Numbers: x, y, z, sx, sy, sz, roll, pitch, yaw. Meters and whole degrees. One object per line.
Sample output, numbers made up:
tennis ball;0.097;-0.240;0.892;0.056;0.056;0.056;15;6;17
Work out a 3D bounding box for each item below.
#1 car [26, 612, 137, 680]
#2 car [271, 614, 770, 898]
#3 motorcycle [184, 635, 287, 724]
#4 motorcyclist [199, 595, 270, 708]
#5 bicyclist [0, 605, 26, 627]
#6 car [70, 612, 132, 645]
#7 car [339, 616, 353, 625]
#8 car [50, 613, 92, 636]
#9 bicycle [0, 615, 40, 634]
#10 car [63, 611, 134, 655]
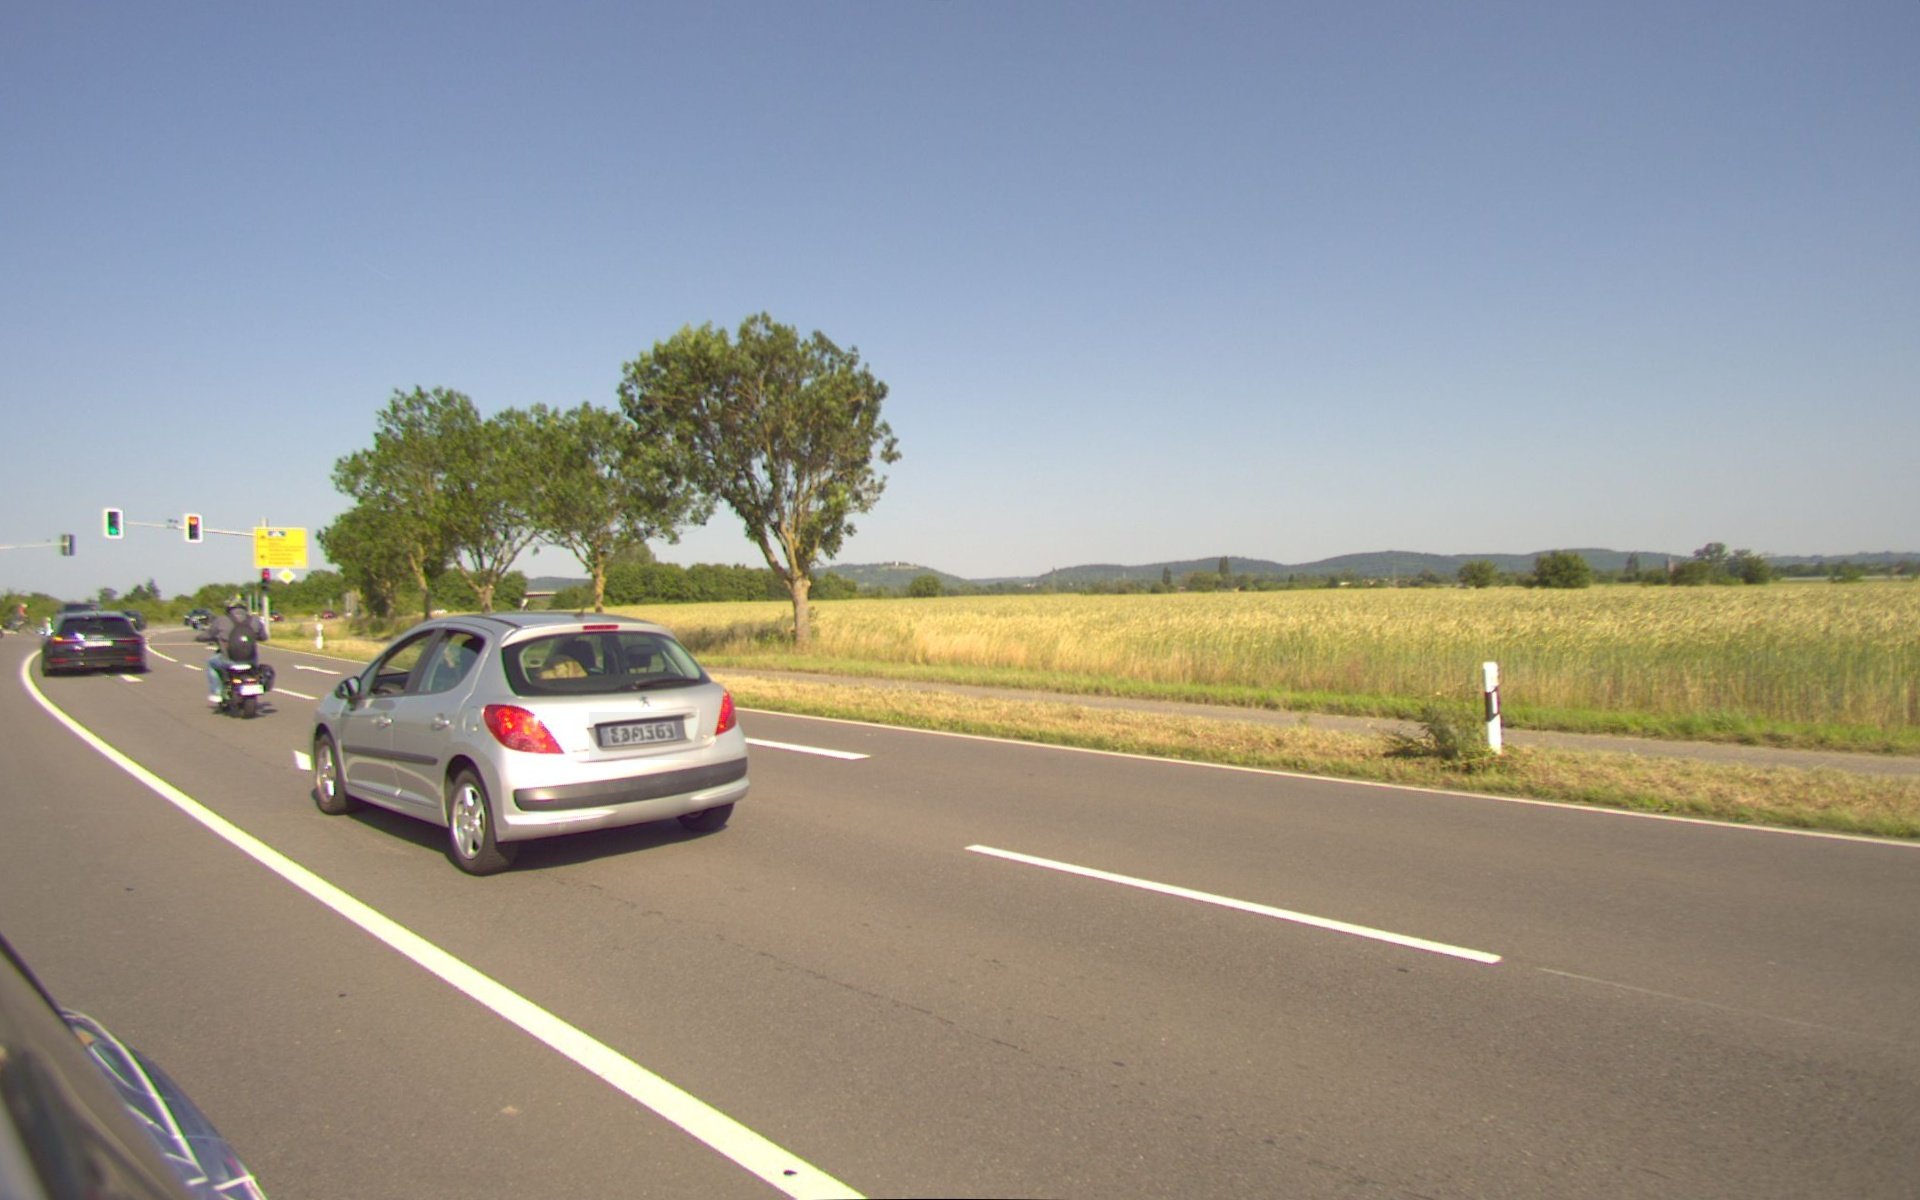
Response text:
car;-21.086;1.027;24.429;1.866;1.447;4.805;-1;0;-40
car;-3.238;0.814;7.068;3.998;1.414;1.668;-1;-1;41
motorcycle;-9.990;1.054;13.927;0.861;1.082;1.970;0;0;-45
motorcyclist;-10.035;0.687;14.001;0.670;1.506;0.847;0;-1;-45
bicyclist;-58.504;0.989;62.518;1.056;1.362;0.860;1;0;-36
car;-40.333;1.317;47.600;1.865;1.477;4.286;0;-1;-36
car;-103.251;3.460;170.273;1.606;1.387;4.437;1;-2;-26
car;-61.983;1.675;70.590;1.832;1.554;4.010;0;-1;-36
bicycle;-58.431;1.491;62.588;2.115;1.158;1.076;1;0;-36
car;-31.223;1.151;36.722;1.866;1.472;4.313;0;-1;-40
